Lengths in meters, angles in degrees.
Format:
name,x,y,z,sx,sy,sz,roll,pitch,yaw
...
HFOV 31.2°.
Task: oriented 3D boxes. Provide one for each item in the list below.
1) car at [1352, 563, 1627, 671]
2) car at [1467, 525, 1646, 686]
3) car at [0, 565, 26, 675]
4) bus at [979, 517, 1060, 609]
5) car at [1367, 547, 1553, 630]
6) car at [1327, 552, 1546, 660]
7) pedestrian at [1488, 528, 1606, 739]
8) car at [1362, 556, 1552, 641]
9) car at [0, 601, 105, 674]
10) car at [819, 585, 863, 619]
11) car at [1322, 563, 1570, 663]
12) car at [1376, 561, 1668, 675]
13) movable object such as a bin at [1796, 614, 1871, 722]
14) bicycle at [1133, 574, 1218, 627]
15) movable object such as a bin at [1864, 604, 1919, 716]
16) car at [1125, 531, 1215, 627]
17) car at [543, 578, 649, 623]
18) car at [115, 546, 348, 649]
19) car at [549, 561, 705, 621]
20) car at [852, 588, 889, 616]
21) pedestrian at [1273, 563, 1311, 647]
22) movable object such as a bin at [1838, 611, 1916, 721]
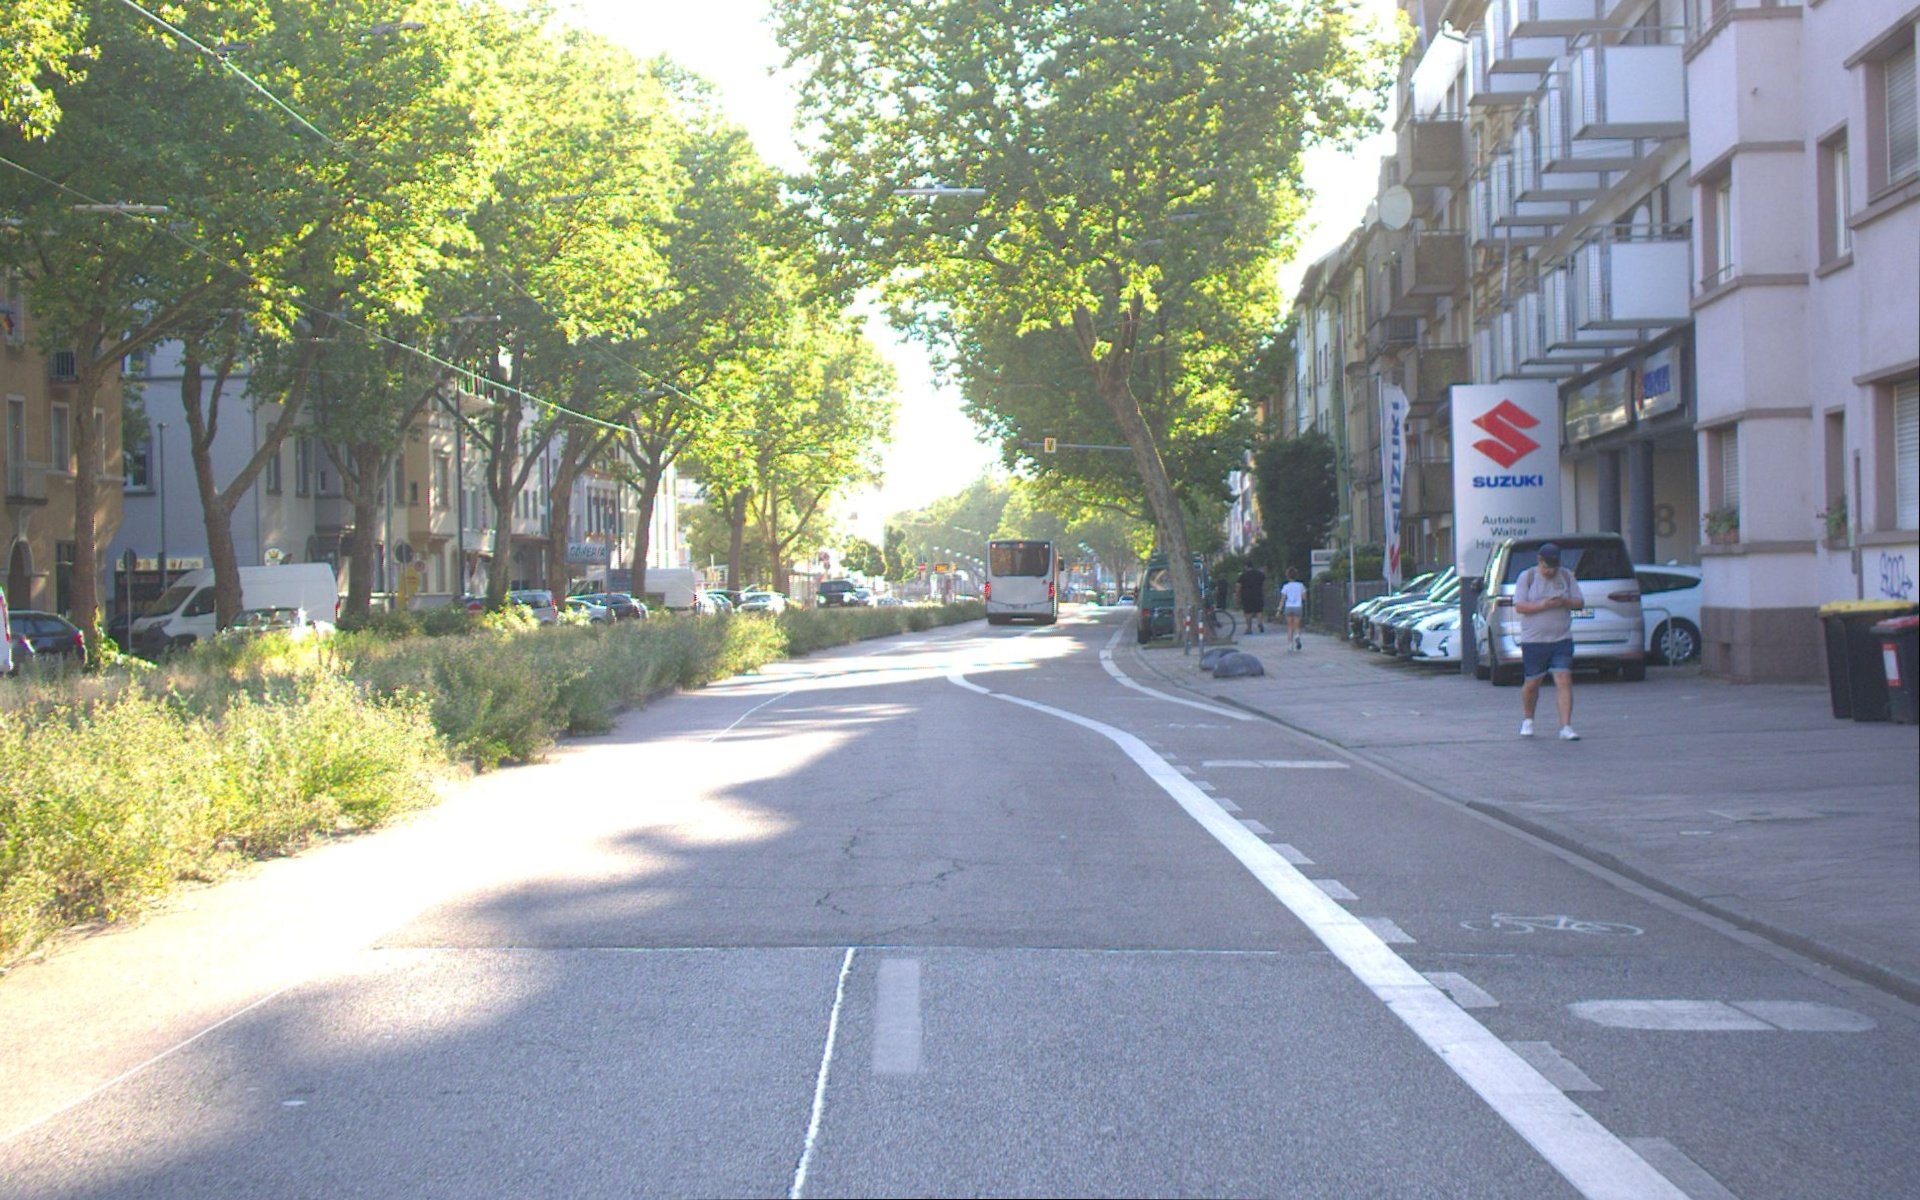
name,x,y,z,sx,sy,sz,roll,pitch,yaw
car,7.965,0.243,51.942,3.868,1.509,1.809,-1,1,1
car,7.684,0.076,44.695,1.893,1.942,4.899,-1,0,6
car,-20.203,0.424,63.862,5.231,2.059,1.721,-1,0,-39
bus,2.180,-1.306,128.046,2.833,3.224,8.182,-1,0,0
car,9.838,-0.216,67.794,3.418,1.541,1.442,-1,-1,1
car,8.087,0.096,58.597,3.581,1.714,1.682,-1,2,5
pedestrian,5.152,0.295,30.227,0.829,1.806,1.150,-1,-1,2
car,9.339,-0.019,64.755,3.418,1.513,1.757,-1,0,5
car,-19.644,0.781,70.495,3.717,1.417,1.721,-1,0,-39
car,-6.198,0.096,178.100,1.869,1.688,4.777,-1,0,-7
car,7.982,0.201,56.683,3.819,1.535,1.859,-1,0,1
car,8.012,0.243,49.237,3.810,1.496,1.914,-1,1,-2
movable object such as a bin,7.991,0.619,31.453,0.554,0.966,0.584,-1,-1,5
bicycle,4.736,0.011,75.618,1.845,1.139,0.348,-1,-1,3
movable object such as a bin,8.254,0.517,30.074,0.554,0.966,0.584,-1,-1,5
car,5.107,-0.484,84.181,1.993,2.249,5.235,-1,0,2
car,-15.409,0.031,145.668,3.987,1.693,1.856,-3,1,-28
car,-18.808,-0.081,88.941,5.492,2.520,2.125,-1,0,-39
car,-15.630,-0.423,161.429,6.935,2.669,2.186,-1,-1,-18
car,-5.166,0.088,198.856,1.790,1.568,4.000,-1,0,3
pedestrian,6.489,0.101,67.315,0.663,1.623,0.922,-1,-1,3
movable object such as a bin,8.187,0.585,30.717,0.554,0.966,0.584,-1,-1,5
